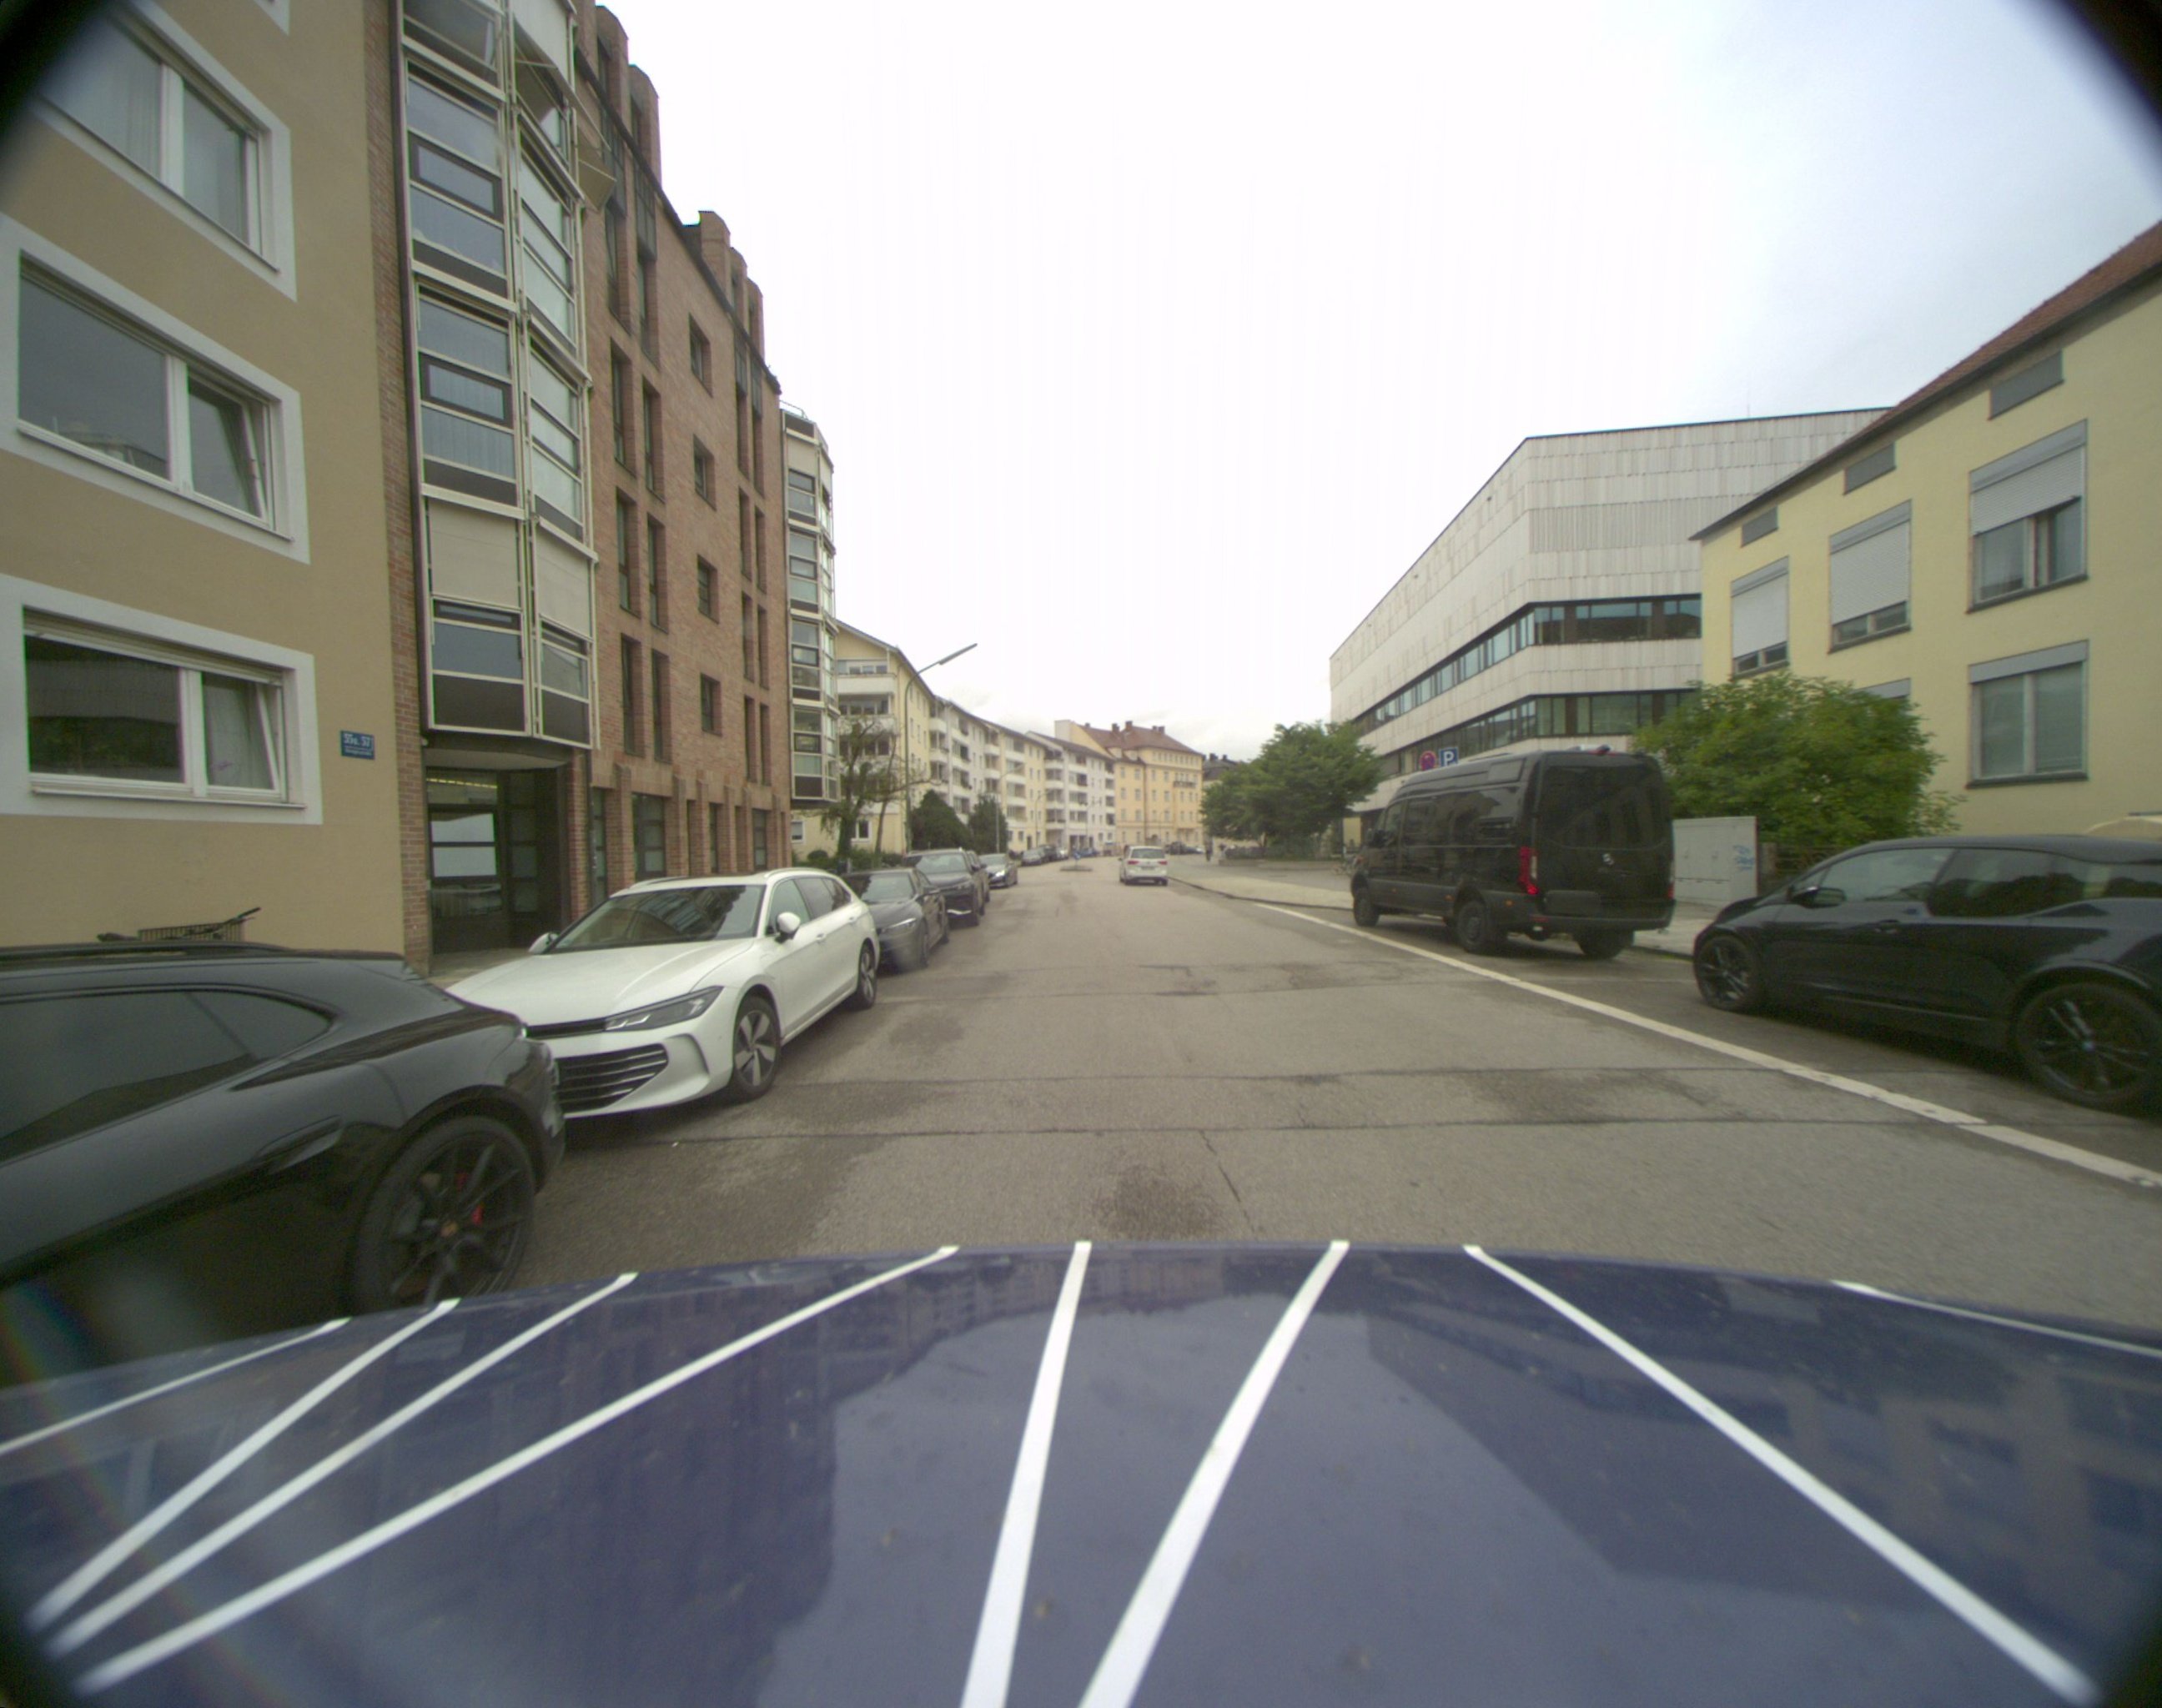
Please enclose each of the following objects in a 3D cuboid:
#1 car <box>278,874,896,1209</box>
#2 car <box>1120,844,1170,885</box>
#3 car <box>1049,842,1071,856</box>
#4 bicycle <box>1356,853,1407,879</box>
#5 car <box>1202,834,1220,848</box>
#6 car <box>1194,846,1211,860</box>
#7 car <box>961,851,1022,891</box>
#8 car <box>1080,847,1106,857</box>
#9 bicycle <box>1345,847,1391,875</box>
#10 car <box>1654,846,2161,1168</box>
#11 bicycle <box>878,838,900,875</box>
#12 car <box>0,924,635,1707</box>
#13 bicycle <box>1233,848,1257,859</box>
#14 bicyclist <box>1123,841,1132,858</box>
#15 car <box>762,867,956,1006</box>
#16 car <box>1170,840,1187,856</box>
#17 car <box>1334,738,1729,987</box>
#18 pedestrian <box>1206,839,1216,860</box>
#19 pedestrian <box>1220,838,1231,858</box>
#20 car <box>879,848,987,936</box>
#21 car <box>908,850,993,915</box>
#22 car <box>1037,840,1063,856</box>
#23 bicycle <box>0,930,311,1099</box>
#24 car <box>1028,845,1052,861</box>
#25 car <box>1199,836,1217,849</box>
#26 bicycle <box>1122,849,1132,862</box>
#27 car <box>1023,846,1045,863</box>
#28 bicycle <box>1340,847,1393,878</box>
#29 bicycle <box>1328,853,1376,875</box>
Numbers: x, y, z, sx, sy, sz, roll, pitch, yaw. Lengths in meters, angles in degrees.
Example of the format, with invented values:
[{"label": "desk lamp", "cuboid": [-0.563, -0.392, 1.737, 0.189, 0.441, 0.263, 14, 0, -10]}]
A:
[{"label": "car", "cuboid": [-2.995, 0.973, 6.206, 1.859, 1.406, 5.013, -2, 1, -2]}, {"label": "car", "cuboid": [2.686, 0.399, 32.625, 1.797, 1.664, 4.148, 0, 1, 0]}, {"label": "car", "cuboid": [-2.394, -0.591, 87.455, 1.997, 1.630, 4.001, -1, 1, 6]}, {"label": "bicycle", "cuboid": [11.769, 0.474, 29.780, 1.819, 0.957, 0.473, -2, 2, 0]}, {"label": "car", "cuboid": [21.729, -2.180, 127.091, 1.889, 2.343, 4.006, -1, 1, 25]}, {"label": "car", "cuboid": [18.387, -0.129, 114.913, 1.890, 2.002, 4.004, -1, 1, 18]}, {"label": "car", "cuboid": [-3.721, 0.662, 32.283, 1.882, 1.428, 4.333, -4, 1, 2]}, {"label": "car", "cuboid": [1.654, -0.332, 103.955, 1.680, 1.281, 4.007, -1, 1, 31]}, {"label": "bicycle", "cuboid": [12.518, 0.300, 33.169, 1.815, 1.145, 0.519, -1, 2, 4]}, {"label": "car", "cuboid": [6.538, 0.789, 5.332, 1.884, 1.627, 4.350, 2, 1, 4]}, {"label": "bicycle", "cuboid": [-10.566, 0.129, 41.864, 0.653, 2.002, 1.992, -1, 1, -1]}, {"label": "car", "cuboid": [-2.948, 1.087, 0.807, 1.960, 1.406, 5.111, -2, 1, -1]}, {"label": "bicycle", "cuboid": [15.977, -0.050, 73.887, 2.146, 0.986, 0.798, -1, 1, -11]}, {"label": "bicyclist", "cuboid": [3.659, -0.341, 60.293, 0.618, 1.343, 0.832, -2, 2, -1]}, {"label": "car", "cuboid": [-3.078, 1.039, 11.632, 1.762, 1.358, 4.778, -5, 1, -4]}, {"label": "car", "cuboid": [13.396, -0.862, 104.176, 1.891, 2.002, 4.003, -1, 1, 14]}, {"label": "car", "cuboid": [6.259, 0.054, 11.898, 2.219, 2.837, 6.194, 1, 1, -2]}, {"label": "pedestrian", "cuboid": [11.232, -0.423, 65.615, 0.787, 1.776, 0.516, -2, 2, -1]}, {"label": "pedestrian", "cuboid": [12.785, -0.515, 67.341, 0.787, 1.776, 0.516, -2, 2, -1]}, {"label": "car", "cuboid": [-3.134, 0.707, 16.936, 1.883, 1.636, 4.641, -1, 1, -6]}, {"label": "car", "cuboid": [-3.584, 0.701, 21.639, 1.883, 1.582, 4.505, -1, 1, -4]}, {"label": "car", "cuboid": [-3.233, -0.611, 79.371, 1.997, 1.587, 4.001, -1, 1, 7]}, {"label": "bicycle", "cuboid": [-7.738, 1.258, 6.408, 0.678, 1.027, 1.752, -1, 1, 0]}, {"label": "car", "cuboid": [-3.981, -0.105, 74.711, 1.823, 1.467, 4.001, -1, 1, 5]}, {"label": "car", "cuboid": [20.282, -1.827, 121.402, 1.889, 2.002, 4.006, -1, 1, 25]}, {"label": "bicycle", "cuboid": [3.663, 0.137, 60.450, 0.707, 1.042, 1.463, -1, 0, -1]}, {"label": "car", "cuboid": [-4.269, 0.022, 69.614, 1.755, 1.483, 3.998, -2, 1, -1]}, {"label": "bicycle", "cuboid": [11.790, 0.349, 31.404, 1.914, 1.187, 0.745, -2, 2, 0]}, {"label": "bicycle", "cuboid": [12.207, 0.452, 34.254, 1.850, 0.921, 0.739, -2, 1, 1]}]
